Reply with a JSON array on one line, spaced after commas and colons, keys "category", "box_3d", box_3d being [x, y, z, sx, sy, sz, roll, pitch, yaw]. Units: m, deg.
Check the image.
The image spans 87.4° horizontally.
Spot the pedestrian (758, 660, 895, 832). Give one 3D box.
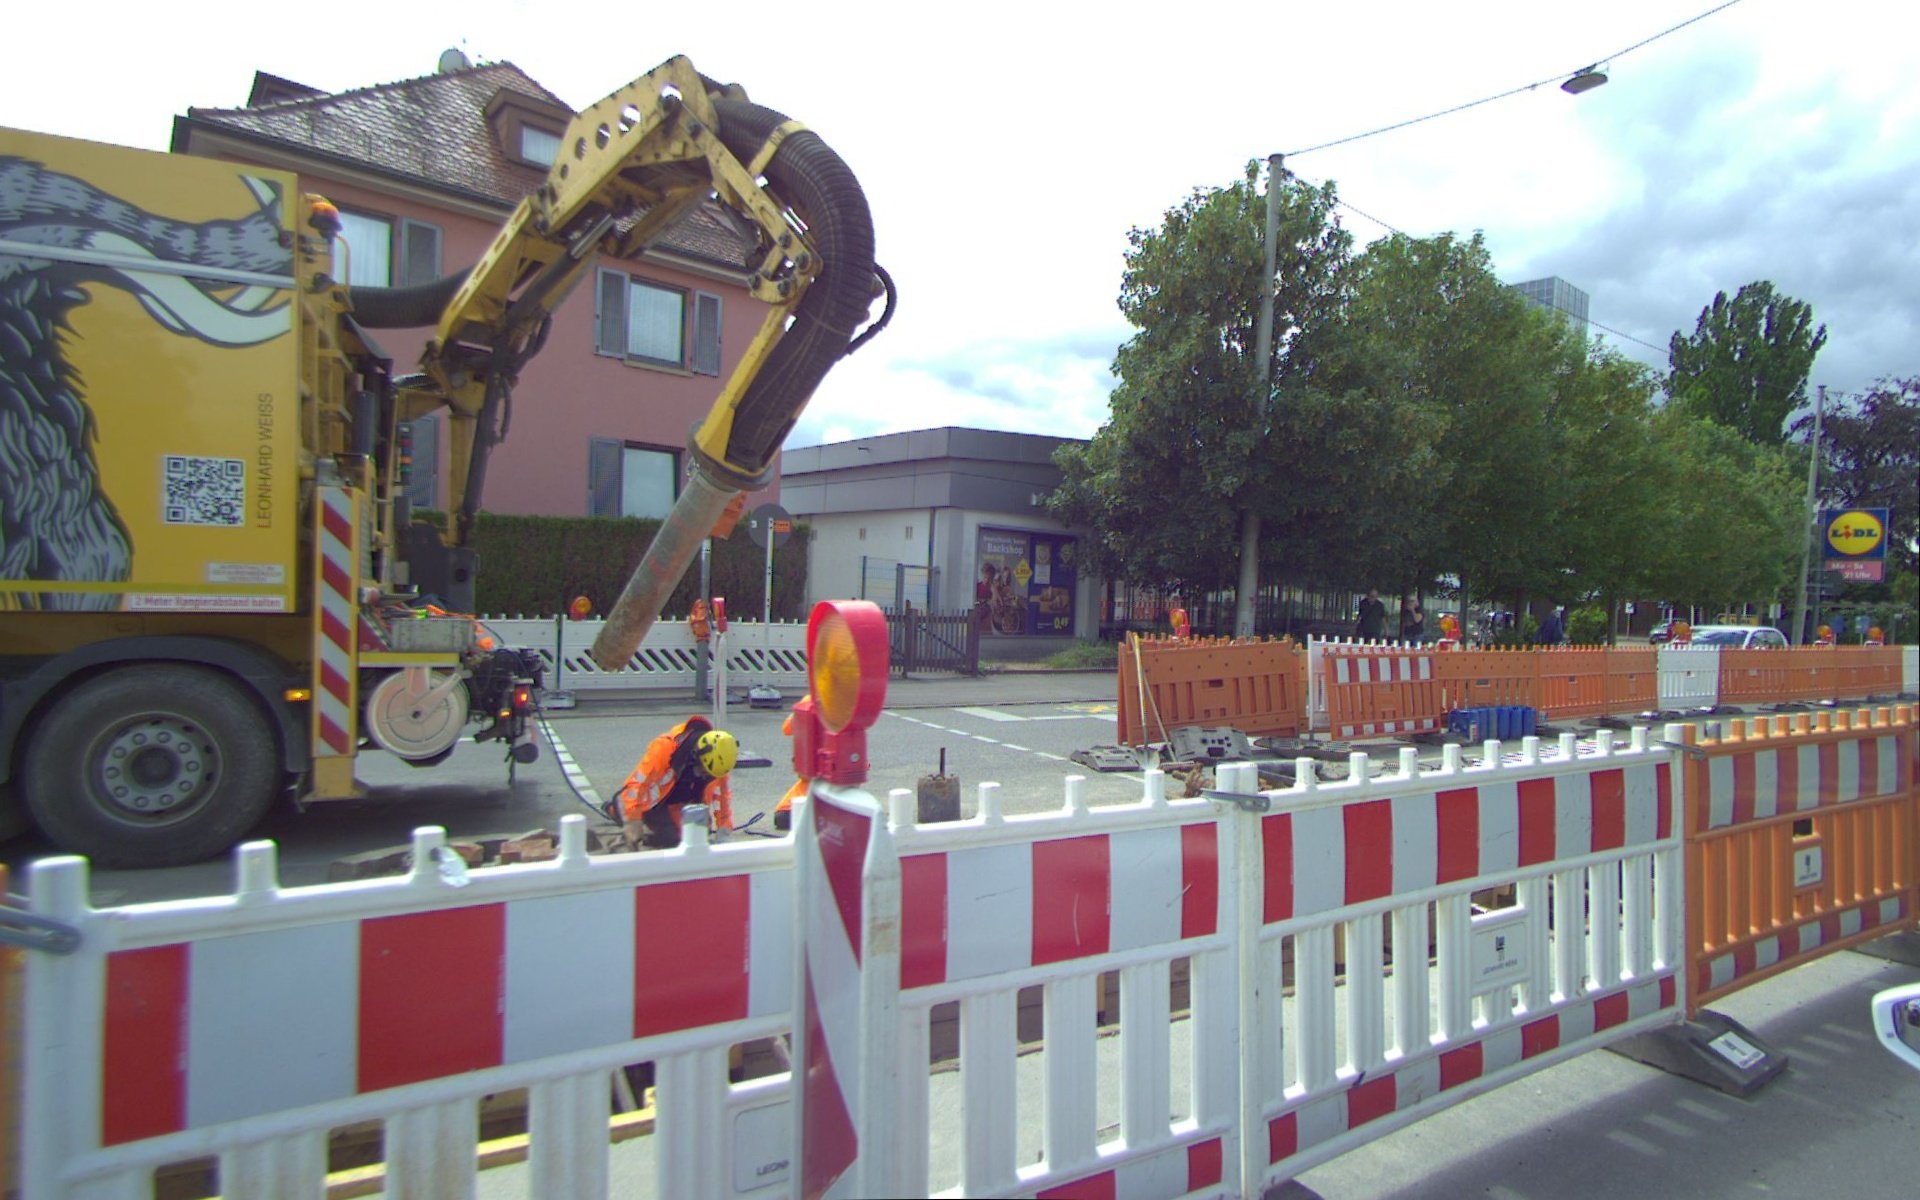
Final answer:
[{"category": "pedestrian", "box_3d": [-0.845, 0.919, 6.512, 0.777, 1.004, 0.643, 1, 0, 0]}]

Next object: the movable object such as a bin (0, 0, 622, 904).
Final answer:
[{"category": "movable object such as a bin", "box_3d": [-7.517, -0.780, 4.738, 10.969, 4.277, 2.583, 1, 0, -25]}]

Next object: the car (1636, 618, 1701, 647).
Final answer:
[{"category": "car", "box_3d": [39.714, 1.812, 56.293, 3.966, 1.472, 1.977, 2, 0, -39]}]

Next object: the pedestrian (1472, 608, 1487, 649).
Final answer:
[{"category": "pedestrian", "box_3d": [24.180, 1.301, 46.760, 0.607, 1.884, 0.417, 1, 1, -42]}]

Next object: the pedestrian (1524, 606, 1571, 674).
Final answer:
[{"category": "pedestrian", "box_3d": [14.461, 0.981, 24.737, 0.823, 1.624, 0.746, 1, 1, -41]}]

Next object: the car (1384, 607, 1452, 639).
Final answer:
[{"category": "car", "box_3d": [26.017, 1.325, 57.044, 3.966, 1.718, 1.977, 1, 0, -39]}]

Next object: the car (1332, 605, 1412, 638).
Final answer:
[{"category": "car", "box_3d": [21.788, 1.158, 52.995, 4.635, 1.593, 1.977, 2, 0, -40]}]

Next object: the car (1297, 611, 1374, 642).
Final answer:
[{"category": "car", "box_3d": [20.687, 1.474, 55.261, 4.635, 1.593, 1.977, 2, 0, -40]}]

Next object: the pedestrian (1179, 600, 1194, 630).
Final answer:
[{"category": "pedestrian", "box_3d": [12.382, 0.813, 54.884, 0.602, 1.638, 0.500, 2, 0, -40]}]

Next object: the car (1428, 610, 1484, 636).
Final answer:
[{"category": "car", "box_3d": [32.292, 1.485, 65.338, 3.972, 1.572, 1.975, 2, 0, -43]}]

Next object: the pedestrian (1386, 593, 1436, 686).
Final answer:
[{"category": "pedestrian", "box_3d": [9.254, 0.797, 20.622, 0.611, 1.872, 0.696, 2, 1, -10]}]

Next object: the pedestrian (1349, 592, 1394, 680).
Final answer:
[{"category": "pedestrian", "box_3d": [8.894, 0.763, 21.734, 0.611, 1.872, 0.626, 2, 1, -10]}]

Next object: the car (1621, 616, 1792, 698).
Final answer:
[{"category": "car", "box_3d": [15.891, 1.158, 21.332, 3.963, 1.472, 1.841, 2, 2, -37]}]

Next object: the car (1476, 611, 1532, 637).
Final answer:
[{"category": "car", "box_3d": [34.697, 1.539, 64.054, 3.972, 1.572, 1.975, 2, 0, -43]}]

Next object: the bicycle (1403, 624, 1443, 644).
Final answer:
[{"category": "bicycle", "box_3d": [23.926, 1.754, 51.920, 1.851, 0.970, 0.348, 2, 0, 29]}]

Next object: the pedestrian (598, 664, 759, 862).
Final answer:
[{"category": "pedestrian", "box_3d": [-1.589, 0.901, 5.804, 0.797, 1.004, 0.792, 1, 0, -10]}]
